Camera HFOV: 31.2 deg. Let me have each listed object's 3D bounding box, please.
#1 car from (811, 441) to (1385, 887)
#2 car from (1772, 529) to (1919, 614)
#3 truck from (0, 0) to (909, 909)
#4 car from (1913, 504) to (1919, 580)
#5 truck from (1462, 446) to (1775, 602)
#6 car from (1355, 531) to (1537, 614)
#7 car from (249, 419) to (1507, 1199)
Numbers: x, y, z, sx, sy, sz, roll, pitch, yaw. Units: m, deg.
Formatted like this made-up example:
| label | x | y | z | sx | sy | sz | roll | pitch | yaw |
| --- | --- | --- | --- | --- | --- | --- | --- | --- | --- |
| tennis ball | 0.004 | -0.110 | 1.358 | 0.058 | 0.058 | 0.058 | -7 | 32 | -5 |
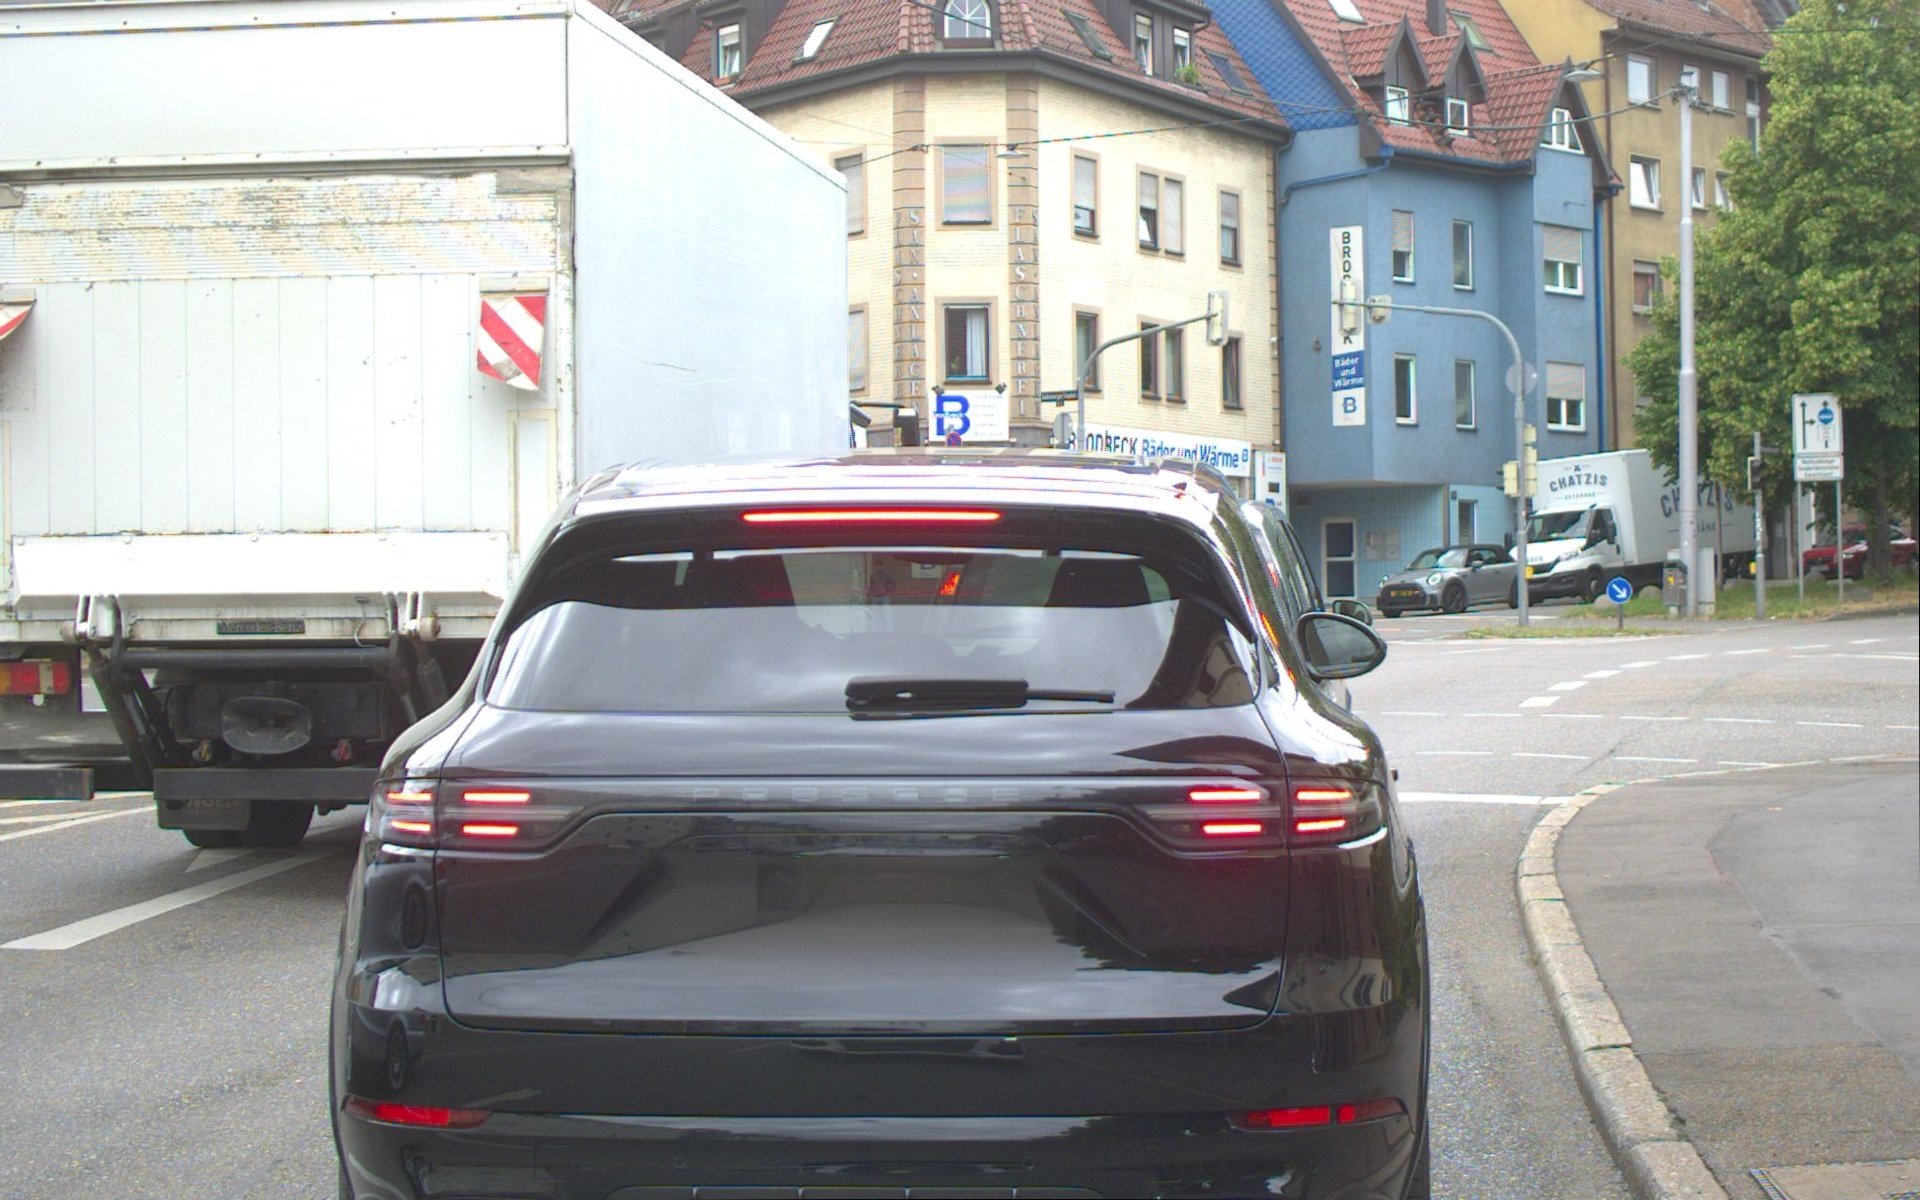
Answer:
| label | x | y | z | sx | sy | sz | roll | pitch | yaw |
| --- | --- | --- | --- | --- | --- | --- | --- | --- | --- |
| car | 0.753 | 0.214 | 15.064 | 1.994 | 1.678 | 3.998 | 0 | 1 | 10 |
| car | 22.290 | -0.703 | 86.156 | 1.999 | 2.007 | 3.990 | 2 | 1 | 43 |
| truck | -2.249 | -0.723 | 17.154 | 2.770 | 3.562 | 8.062 | 0 | 1 | 8 |
| car | 27.215 | -1.465 | 91.282 | 1.999 | 2.007 | 3.990 | 2 | 1 | 43 |
| truck | 15.144 | -1.675 | 78.496 | 2.880 | 3.328 | 8.772 | 2 | 1 | 41 |
| car | 10.187 | -0.577 | 71.881 | 1.998 | 1.678 | 3.991 | 0 | 1 | 39 |
| car | -0.236 | 0.500 | 7.421 | 1.978 | 1.678 | 4.001 | 0 | 2 | -3 |
